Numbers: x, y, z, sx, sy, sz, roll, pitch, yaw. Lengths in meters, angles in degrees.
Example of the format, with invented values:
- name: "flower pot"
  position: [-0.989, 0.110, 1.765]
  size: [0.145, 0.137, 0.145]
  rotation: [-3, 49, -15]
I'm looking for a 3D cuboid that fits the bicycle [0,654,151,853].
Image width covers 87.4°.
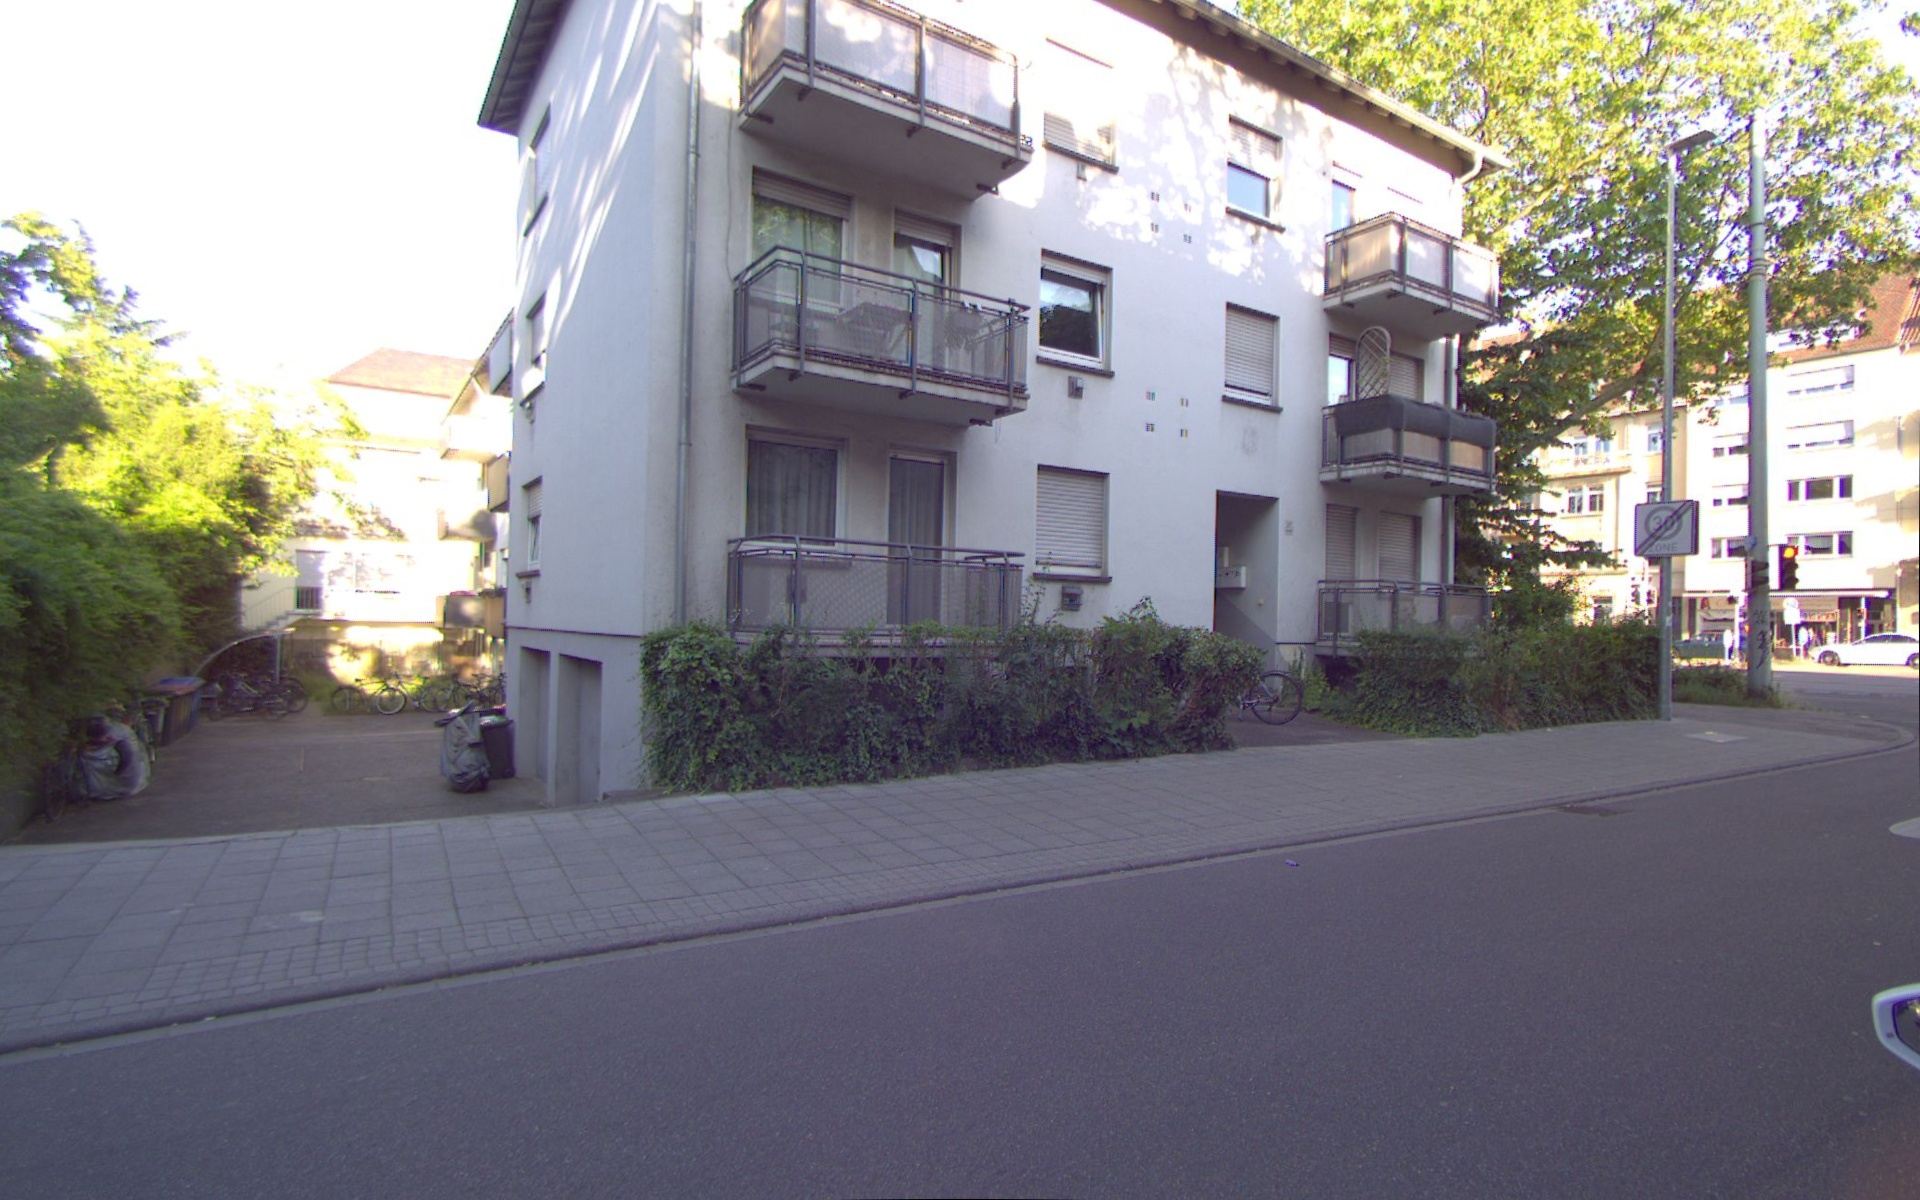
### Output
- name: "bicycle"
  position: [-10.600, 1.645, 11.978]
  size: [0.961, 1.917, 4.156]
  rotation: [1, -2, -32]

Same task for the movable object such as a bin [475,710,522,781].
- name: "movable object such as a bin"
  position: [-7.400, 2.315, 16.089]
  size: [0.606, 1.051, 0.534]
  rotation: [1, -3, -34]

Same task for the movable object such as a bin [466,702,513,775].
- name: "movable object such as a bin"
  position: [-7.916, 2.316, 16.901]
  size: [0.606, 1.129, 0.795]
  rotation: [1, -3, -33]

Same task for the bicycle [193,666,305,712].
- name: "bicycle"
  position: [-18.600, 2.305, 26.344]
  size: [2.311, 1.148, 0.689]
  rotation: [2, -4, -30]

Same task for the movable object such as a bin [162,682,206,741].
- name: "movable object such as a bin"
  position: [-15.488, 2.209, 20.053]
  size: [0.606, 1.129, 0.795]
  rotation: [1, -3, -33]

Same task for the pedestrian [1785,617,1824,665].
- name: "pedestrian"
  position: [44.324, 2.133, 52.734]
  size: [1.049, 2.497, 1.337]
  rotation: [1, 0, -34]

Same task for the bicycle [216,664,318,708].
- name: "bicycle"
  position: [-19.642, 2.429, 28.540]
  size: [2.311, 1.192, 0.689]
  rotation: [2, -4, -30]

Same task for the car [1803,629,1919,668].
- name: "car"
  position: [38.184, 1.980, 41.655]
  size: [1.818, 1.479, 4.672]
  rotation: [1, -1, -35]

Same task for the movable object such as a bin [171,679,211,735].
- name: "movable object such as a bin"
  position: [-16.362, 2.270, 21.385]
  size: [0.606, 1.129, 0.795]
  rotation: [1, -3, -33]

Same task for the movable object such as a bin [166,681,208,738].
- name: "movable object such as a bin"
  position: [-15.929, 2.241, 20.723]
  size: [0.606, 1.129, 0.795]
  rotation: [1, -3, -33]

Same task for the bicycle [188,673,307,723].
- name: "bicycle"
  position: [-17.335, 2.363, 24.525]
  size: [2.268, 1.148, 0.689]
  rotation: [2, -4, -30]

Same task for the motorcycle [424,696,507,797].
- name: "motorcycle"
  position: [-7.403, 2.141, 15.007]
  size: [0.739, 1.313, 1.563]
  rotation: [2, -2, -41]

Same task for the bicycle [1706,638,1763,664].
- name: "bicycle"
  position: [40.190, 2.609, 52.140]
  size: [0.630, 1.263, 2.243]
  rotation: [1, -1, -33]

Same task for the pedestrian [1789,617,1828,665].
- name: "pedestrian"
  position: [45.115, 2.169, 53.413]
  size: [1.049, 2.497, 1.337]
  rotation: [1, 0, -34]

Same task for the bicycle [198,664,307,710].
- name: "bicycle"
  position: [-19.025, 2.313, 27.091]
  size: [2.311, 1.192, 0.689]
  rotation: [2, -4, -30]

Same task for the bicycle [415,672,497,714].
- name: "bicycle"
  position: [-13.912, 2.554, 27.744]
  size: [1.982, 1.085, 0.561]
  rotation: [2, -4, -30]

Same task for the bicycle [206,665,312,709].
- name: "bicycle"
  position: [-19.372, 2.389, 27.814]
  size: [2.311, 1.192, 0.689]
  rotation: [2, -4, -30]

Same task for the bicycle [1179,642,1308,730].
- name: "bicycle"
  position: [3.830, 1.145, 13.570]
  size: [1.590, 1.022, 0.517]
  rotation: [3, 1, 20]

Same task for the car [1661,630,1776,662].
- name: "car"
  position: [36.740, 2.209, 48.738]
  size: [1.648, 1.367, 4.193]
  rotation: [1, -1, -35]

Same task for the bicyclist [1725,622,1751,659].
- name: "bicyclist"
  position: [40.286, 2.067, 52.015]
  size: [0.630, 1.884, 0.886]
  rotation: [1, -1, -34]

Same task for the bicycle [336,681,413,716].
- name: "bicycle"
  position: [-15.566, 2.606, 26.744]
  size: [1.734, 0.890, 0.561]
  rotation: [2, -4, -30]
